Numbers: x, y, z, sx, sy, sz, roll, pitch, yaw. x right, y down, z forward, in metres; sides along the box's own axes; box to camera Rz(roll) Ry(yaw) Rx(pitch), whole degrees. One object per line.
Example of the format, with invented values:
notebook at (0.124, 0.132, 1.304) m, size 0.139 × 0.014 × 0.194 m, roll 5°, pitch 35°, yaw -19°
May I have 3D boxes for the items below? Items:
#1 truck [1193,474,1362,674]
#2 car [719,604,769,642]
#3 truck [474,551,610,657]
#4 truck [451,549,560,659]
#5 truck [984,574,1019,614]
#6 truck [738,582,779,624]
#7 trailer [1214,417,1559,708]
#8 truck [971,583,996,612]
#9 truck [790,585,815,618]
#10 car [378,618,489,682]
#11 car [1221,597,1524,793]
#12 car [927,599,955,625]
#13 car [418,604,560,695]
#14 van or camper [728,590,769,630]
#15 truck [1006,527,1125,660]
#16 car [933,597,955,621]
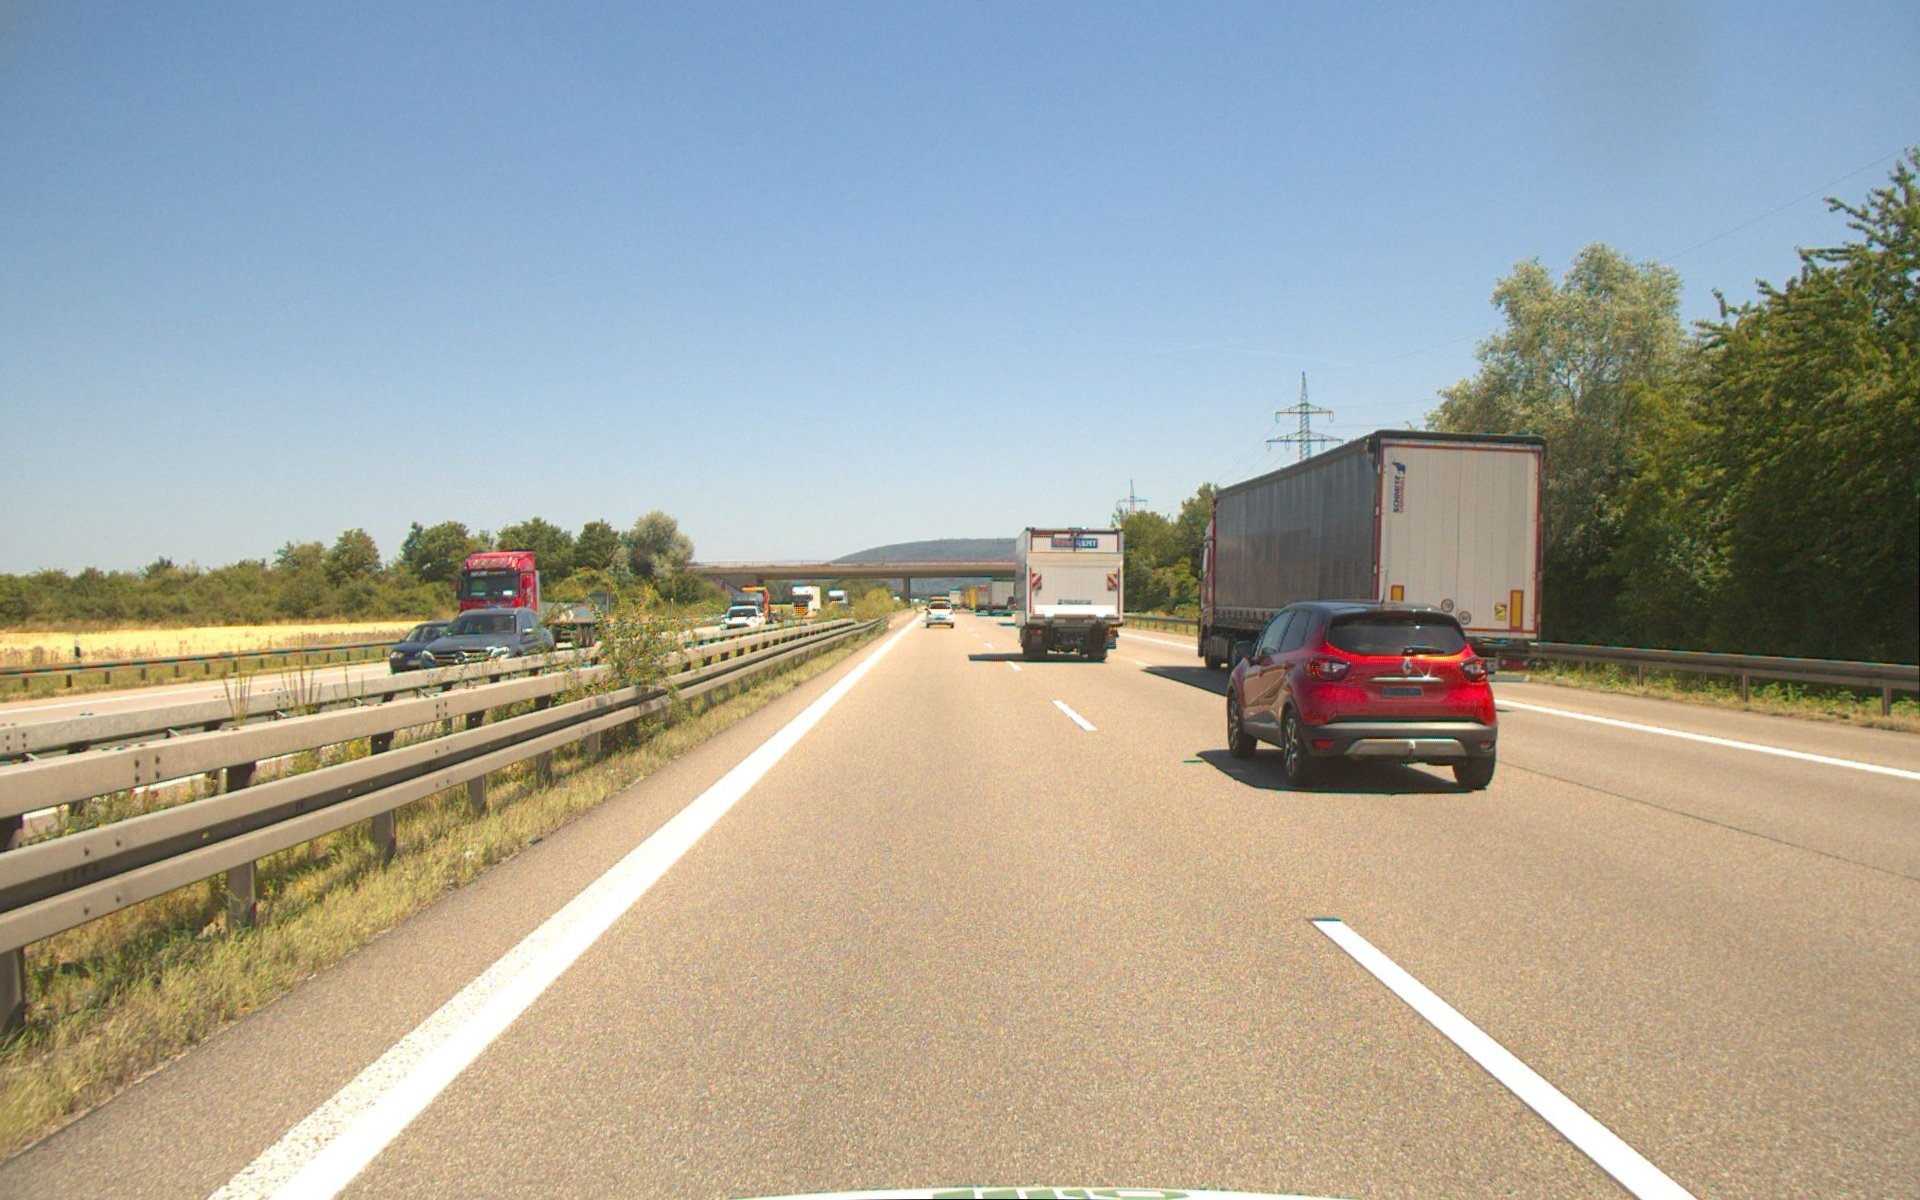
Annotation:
truck at (7.132, -0.544, 37.950) m, size 2.738 × 4.237 × 5.722 m, roll 0°, pitch 0°, yaw -1°
car at (-9.935, 1.036, 76.353) m, size 1.767 × 1.596 × 4.094 m, roll -2°, pitch 0°, yaw -1°
truck at (-18.114, 0.145, 72.743) m, size 2.705 × 4.084 × 13.519 m, roll -2°, pitch 0°, yaw -1°
truck at (-17.940, 0.146, 65.648) m, size 2.705 × 4.084 × 5.749 m, roll -2°, pitch 0°, yaw -1°
truck at (4.814, -0.647, 193.834) m, size 3.449 × 4.493 × 14.588 m, roll -1°, pitch 0°, yaw -1°
truck at (-18.961, 0.288, 156.409) m, size 2.598 × 3.725 × 10.186 m, roll -2°, pitch 0°, yaw -1°
trailer at (7.249, -0.542, 30.863) m, size 2.732 × 4.237 × 13.571 m, roll 0°, pitch 0°, yaw -1°
truck at (3.690, -0.429, 266.162) m, size 3.449 × 4.493 × 14.588 m, roll -1°, pitch 0°, yaw -1°
truck at (-19.761, 0.203, 207.938) m, size 2.626 × 4.085 × 5.754 m, roll -2°, pitch 0°, yaw -1°
car at (-13.615, 1.256, 42.983) m, size 1.698 × 1.477 × 3.676 m, roll -2°, pitch 0°, yaw -1°
car at (3.651, 0.769, 15.351) m, size 1.766 × 1.572 × 3.999 m, roll 0°, pitch 0°, yaw -1°
car at (-1.100, 0.701, 98.321) m, size 1.574 × 1.493 × 4.000 m, roll -1°, pitch 0°, yaw 0°
car at (-9.466, 0.945, 33.530) m, size 1.772 × 1.676 × 3.960 m, roll -2°, pitch 0°, yaw -1°
van or camper at (-14.575, 0.692, 114.254) m, size 2.127 × 2.633 × 5.871 m, roll -3°, pitch 0°, yaw -2°
truck at (2.865, -0.154, 47.252) m, size 2.726 × 3.432 × 8.125 m, roll 0°, pitch 0°, yaw -1°
car at (-1.255, 0.694, 131.468) m, size 1.725 × 1.883 × 4.000 m, roll -1°, pitch 0°, yaw 0°
